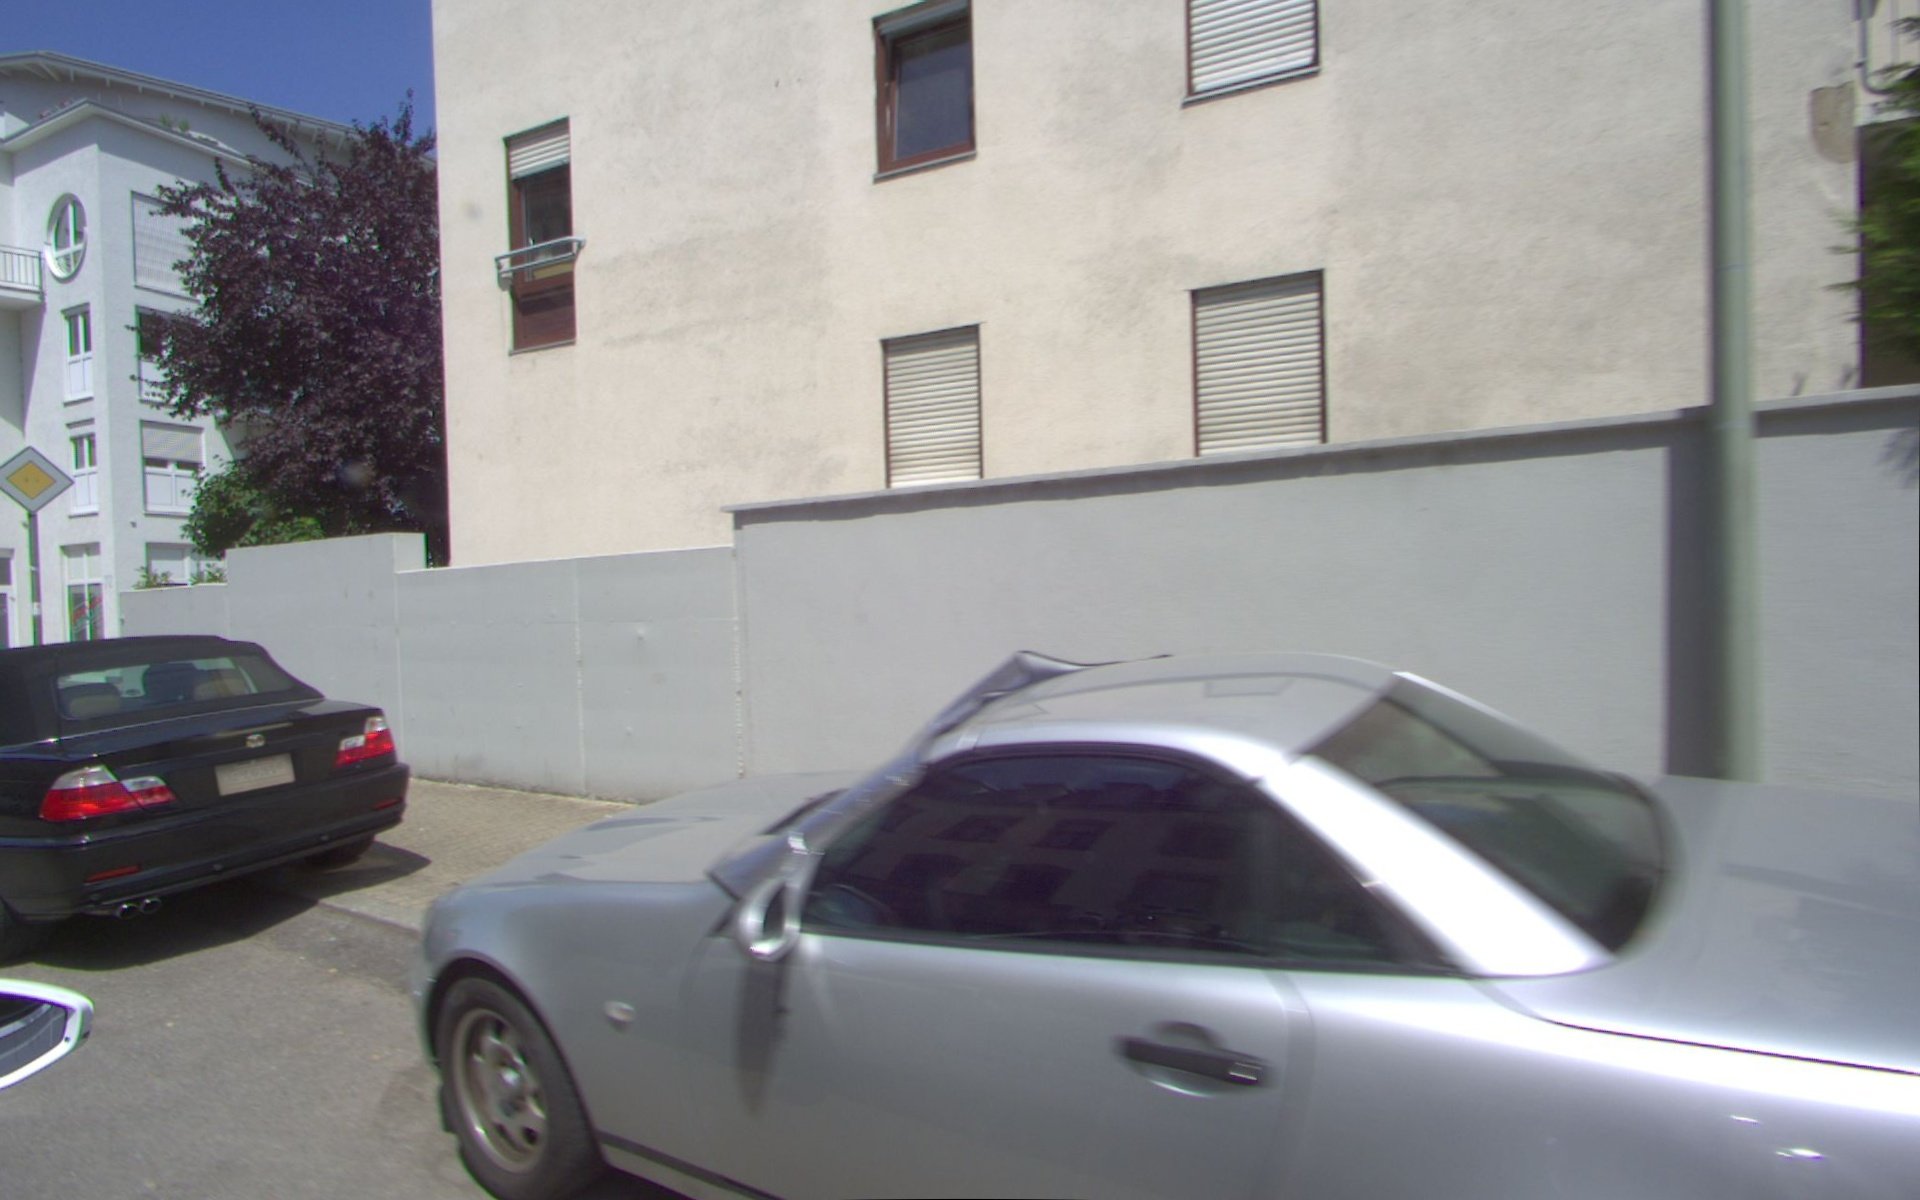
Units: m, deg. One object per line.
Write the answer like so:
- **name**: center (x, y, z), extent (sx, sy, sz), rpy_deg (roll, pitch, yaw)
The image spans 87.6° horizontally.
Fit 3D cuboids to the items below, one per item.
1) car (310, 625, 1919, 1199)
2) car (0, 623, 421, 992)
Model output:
- **car**: center (0.136, 0.814, 2.560), extent (3.769, 1.372, 1.580), rpy_deg (-1, 2, 33)
- **car**: center (-5.100, 0.875, 5.702), extent (4.177, 1.394, 1.653), rpy_deg (-1, 0, 31)
